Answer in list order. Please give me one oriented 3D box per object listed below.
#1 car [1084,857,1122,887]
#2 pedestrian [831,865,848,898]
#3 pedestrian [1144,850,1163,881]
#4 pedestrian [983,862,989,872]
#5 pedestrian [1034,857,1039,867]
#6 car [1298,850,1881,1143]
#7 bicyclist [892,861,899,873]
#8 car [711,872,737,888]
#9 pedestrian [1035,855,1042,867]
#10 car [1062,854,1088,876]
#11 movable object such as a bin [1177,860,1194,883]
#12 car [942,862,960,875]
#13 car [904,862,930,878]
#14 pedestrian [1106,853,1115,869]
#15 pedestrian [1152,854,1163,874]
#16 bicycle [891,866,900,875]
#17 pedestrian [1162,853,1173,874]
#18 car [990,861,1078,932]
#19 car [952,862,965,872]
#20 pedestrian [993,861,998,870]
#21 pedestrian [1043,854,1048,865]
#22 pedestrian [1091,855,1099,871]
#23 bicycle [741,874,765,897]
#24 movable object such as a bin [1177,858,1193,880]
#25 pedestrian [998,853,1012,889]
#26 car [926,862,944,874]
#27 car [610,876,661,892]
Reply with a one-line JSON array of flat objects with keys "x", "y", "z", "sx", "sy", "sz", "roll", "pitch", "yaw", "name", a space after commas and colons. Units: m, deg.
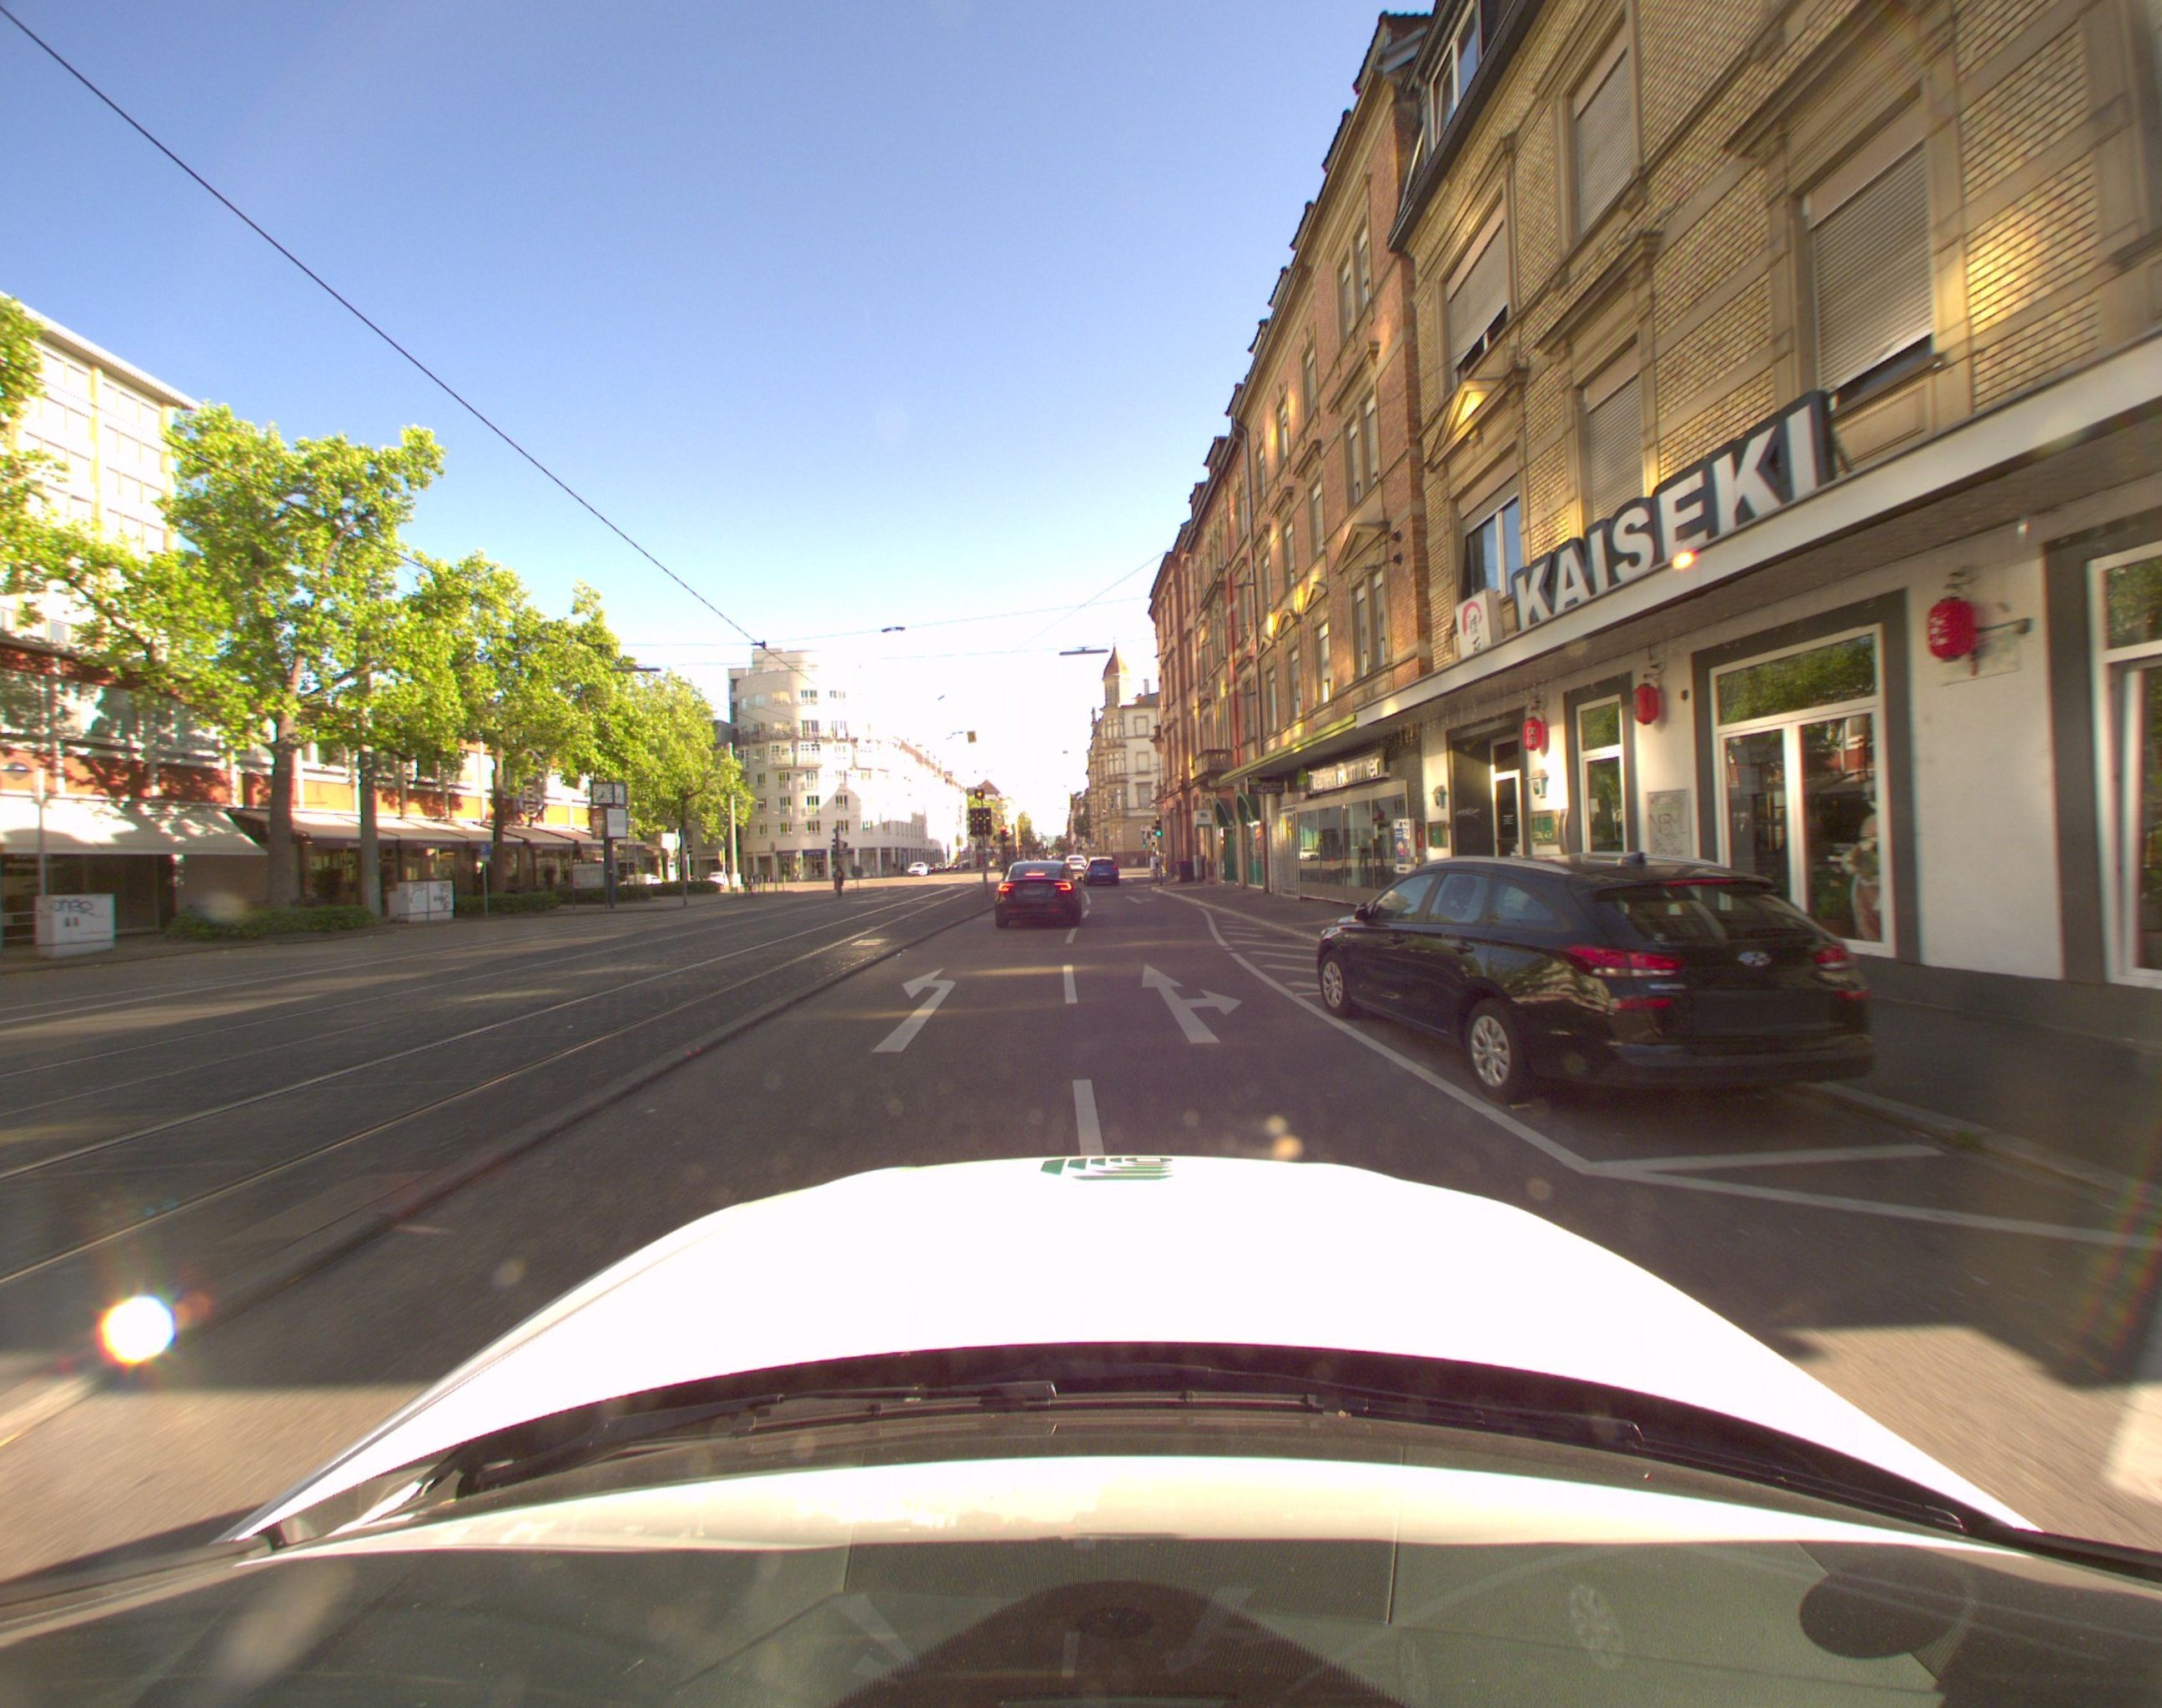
[{"x": 1.081, "y": 0.920, "z": 42.422, "sx": 1.776, "sy": 1.451, "sz": 3.651, "roll": -1, "pitch": 0, "yaw": -2, "name": "car"}, {"x": -11.487, "y": 1.281, "z": 38.772, "sx": 0.498, "sy": 1.517, "sz": 0.858, "roll": -4, "pitch": 0, "yaw": -2, "name": "pedestrian"}, {"x": 3.913, "y": 0.621, "z": 44.008, "sx": 0.686, "sy": 1.607, "sz": 0.723, "roll": -2, "pitch": -1, "yaw": -33, "name": "pedestrian"}, {"x": -14.861, "y": 2.080, "z": 127.379, "sx": 0.730, "sy": 1.527, "sz": 0.742, "roll": -2, "pitch": 0, "yaw": -3, "name": "pedestrian"}, {"x": -6.837, "y": 1.245, "z": 124.798, "sx": 0.579, "sy": 1.562, "sz": 0.473, "roll": -3, "pitch": 0, "yaw": 34, "name": "pedestrian"}, {"x": 3.183, "y": 0.721, "z": 6.326, "sx": 1.686, "sy": 1.451, "sz": 4.356, "roll": -1, "pitch": 0, "yaw": -2, "name": "car"}, {"x": -21.188, "y": 1.486, "z": 92.885, "sx": 0.587, "sy": 1.285, "sz": 0.926, "roll": -3, "pitch": -1, "yaw": -2, "name": "bicyclist"}, {"x": -36.755, "y": 2.631, "z": 83.848, "sx": 1.801, "sy": 1.403, "sz": 4.081, "roll": -2, "pitch": 2, "yaw": -16, "name": "car"}, {"x": -6.550, "y": 1.115, "z": 124.873, "sx": 0.710, "sy": 1.777, "sz": 0.569, "roll": -3, "pitch": 0, "yaw": 34, "name": "pedestrian"}, {"x": -0.523, "y": 0.903, "z": 66.505, "sx": 1.988, "sy": 1.743, "sz": 3.997, "roll": -1, "pitch": -1, "yaw": -2, "name": "car"}, {"x": 5.150, "y": 0.851, "z": 40.135, "sx": 0.661, "sy": 1.072, "sz": 0.591, "roll": -5, "pitch": 0, "yaw": 0, "name": "movable object such as a bin"}, {"x": -20.685, "y": 2.230, "z": 129.507, "sx": 2.222, "sy": 1.911, "sz": 4.604, "roll": -2, "pitch": 0, "yaw": -3, "name": "car"}, {"x": -17.352, "y": 1.660, "z": 86.280, "sx": 1.989, "sy": 1.451, "sz": 4.496, "roll": -3, "pitch": 0, "yaw": -4, "name": "car"}, {"x": 3.254, "y": 0.765, "z": 89.681, "sx": 0.917, "sy": 1.632, "sz": 0.943, "roll": -3, "pitch": -1, "yaw": 6, "name": "pedestrian"}, {"x": 6.219, "y": 0.807, "z": 66.434, "sx": 0.694, "sy": 1.655, "sz": 0.635, "roll": -3, "pitch": -1, "yaw": 20, "name": "pedestrian"}, {"x": -21.158, "y": 1.875, "z": 92.924, "sx": 0.592, "sy": 0.972, "sz": 1.816, "roll": -3, "pitch": -1, "yaw": -1, "name": "bicycle"}, {"x": 7.055, "y": 0.766, "z": 66.432, "sx": 0.638, "sy": 1.745, "sz": 0.709, "roll": -1, "pitch": -2, "yaw": 19, "name": "pedestrian"}, {"x": -1.049, "y": 0.888, "z": 18.956, "sx": 1.806, "sy": 1.424, "sz": 4.150, "roll": -1, "pitch": 0, "yaw": -2, "name": "car"}, {"x": -20.504, "y": 2.120, "z": 136.220, "sx": 1.725, "sy": 1.515, "sz": 4.400, "roll": -2, "pitch": 0, "yaw": -3, "name": "car"}, {"x": -14.285, "y": 1.895, "z": 136.717, "sx": 0.730, "sy": 1.559, "sz": 0.742, "roll": -2, "pitch": 0, "yaw": -3, "name": "pedestrian"}, {"x": -5.232, "y": 0.810, "z": 120.207, "sx": 0.633, "sy": 1.698, "sz": 0.934, "roll": -1, "pitch": -1, "yaw": 5, "name": "pedestrian"}, {"x": 1.597, "y": 1.026, "z": 94.817, "sx": 0.778, "sy": 1.749, "sz": 1.091, "roll": -2, "pitch": 1, "yaw": -5, "name": "pedestrian"}, {"x": -18.452, "y": 1.745, "z": 45.819, "sx": 0.496, "sy": 1.186, "sz": 2.232, "roll": -3, "pitch": 0, "yaw": -3, "name": "bicycle"}, {"x": 5.205, "y": 0.745, "z": 40.743, "sx": 0.661, "sy": 1.072, "sz": 0.545, "roll": -5, "pitch": 0, "yaw": 0, "name": "movable object such as a bin"}, {"x": -3.833, "y": 0.849, "z": 41.109, "sx": 0.556, "sy": 1.763, "sz": 0.894, "roll": -4, "pitch": 0, "yaw": -2, "name": "pedestrian"}, {"x": -20.923, "y": 1.966, "z": 116.946, "sx": 1.990, "sy": 1.596, "sz": 3.994, "roll": -3, "pitch": -1, "yaw": -4, "name": "car"}, {"x": -43.886, "y": 2.951, "z": 80.288, "sx": 3.980, "sy": 1.403, "sz": 1.804, "roll": -2, "pitch": 1, "yaw": 1, "name": "car"}]
